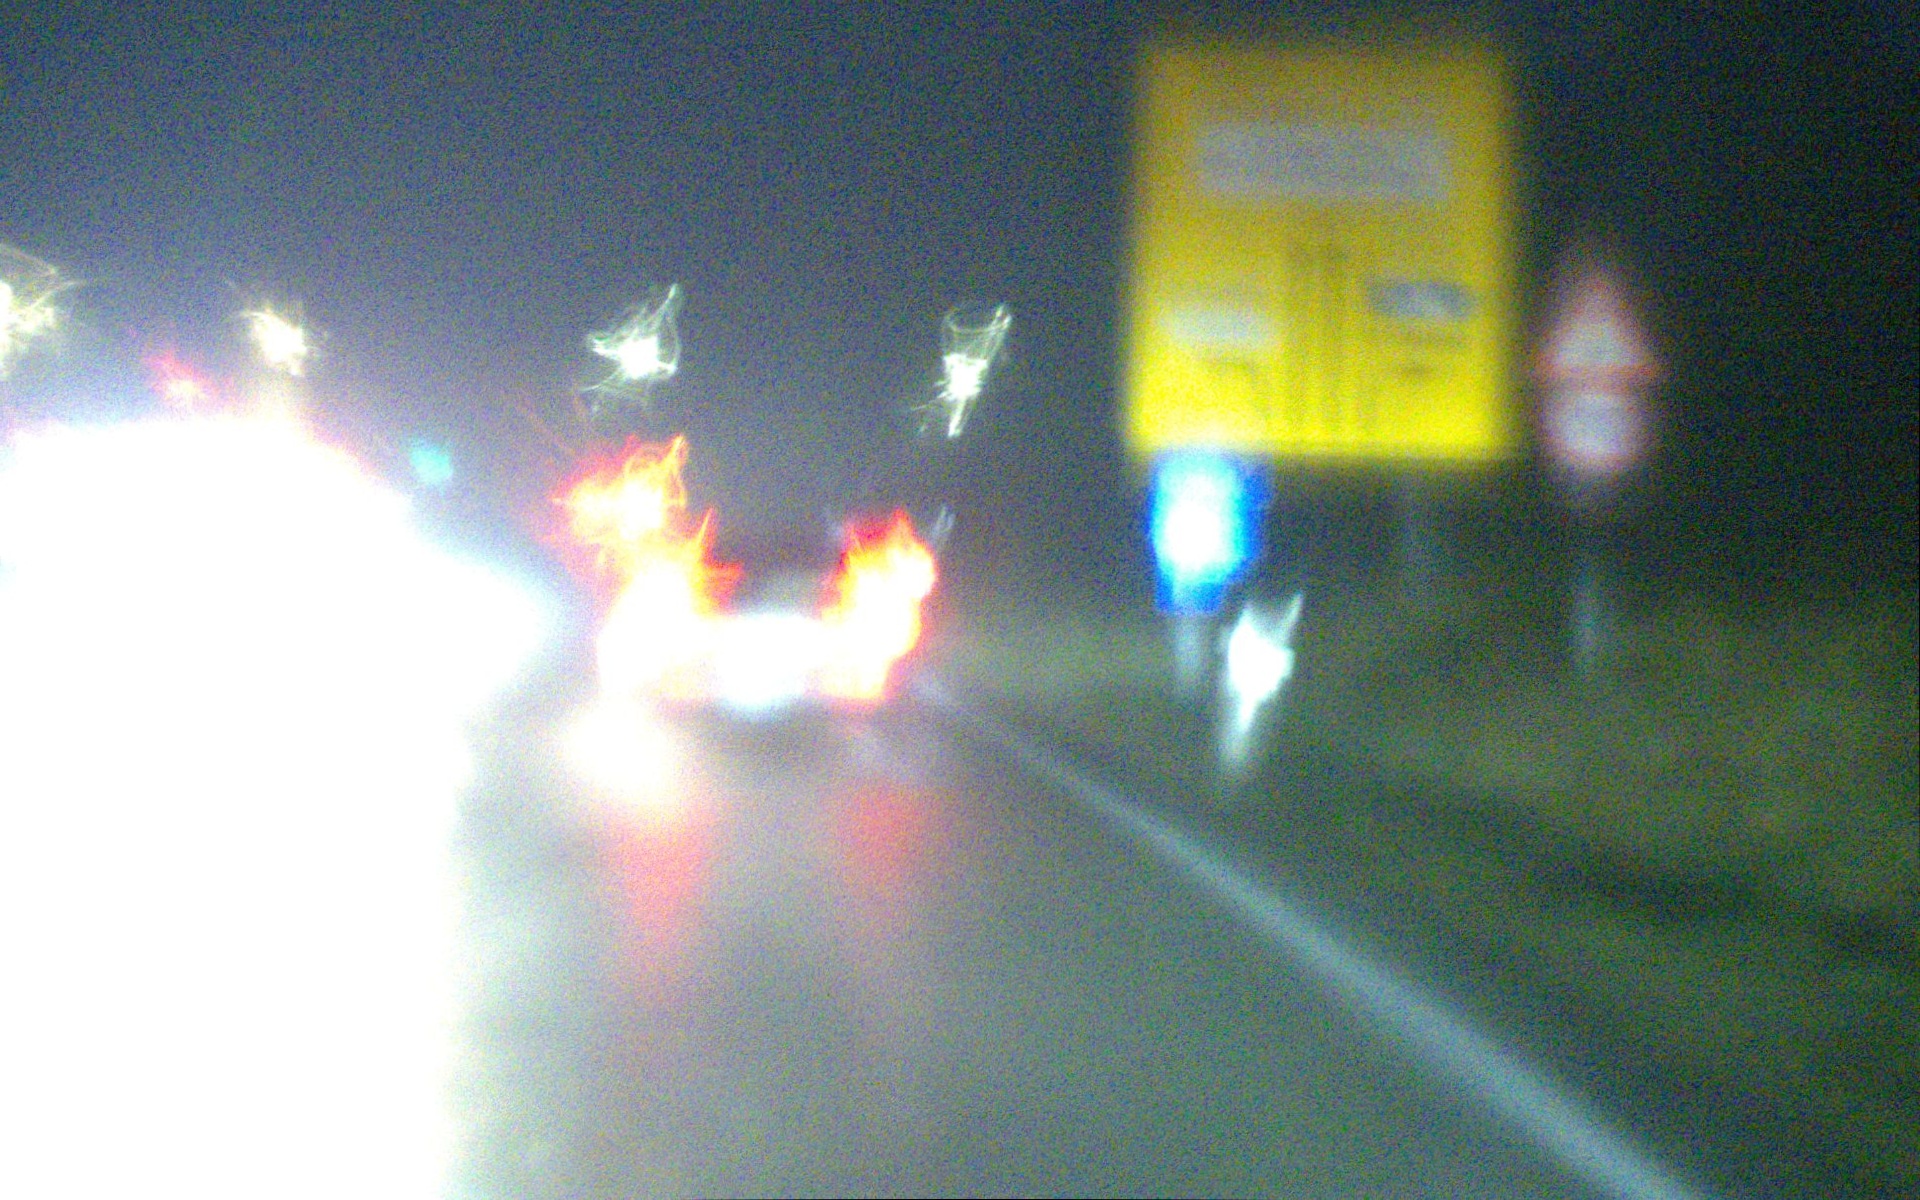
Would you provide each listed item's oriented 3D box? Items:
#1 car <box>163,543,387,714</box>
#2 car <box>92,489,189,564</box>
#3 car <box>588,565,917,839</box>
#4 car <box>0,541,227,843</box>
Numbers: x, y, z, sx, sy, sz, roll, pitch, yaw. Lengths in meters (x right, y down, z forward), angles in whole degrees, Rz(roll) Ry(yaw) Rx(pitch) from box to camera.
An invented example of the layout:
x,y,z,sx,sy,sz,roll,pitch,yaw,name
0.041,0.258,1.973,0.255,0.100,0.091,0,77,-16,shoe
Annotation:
x,y,z,sx,sy,sz,roll,pitch,yaw,name
-5.941,0.203,30.009,1.771,1.384,4.234,0,1,-10,car
-19.649,-1.749,82.292,1.859,1.741,4.964,0,1,-18,car
-1.321,0.599,23.524,1.993,1.622,4.985,1,1,-1,car
-4.937,0.390,17.796,1.771,1.384,4.113,0,1,-6,car
